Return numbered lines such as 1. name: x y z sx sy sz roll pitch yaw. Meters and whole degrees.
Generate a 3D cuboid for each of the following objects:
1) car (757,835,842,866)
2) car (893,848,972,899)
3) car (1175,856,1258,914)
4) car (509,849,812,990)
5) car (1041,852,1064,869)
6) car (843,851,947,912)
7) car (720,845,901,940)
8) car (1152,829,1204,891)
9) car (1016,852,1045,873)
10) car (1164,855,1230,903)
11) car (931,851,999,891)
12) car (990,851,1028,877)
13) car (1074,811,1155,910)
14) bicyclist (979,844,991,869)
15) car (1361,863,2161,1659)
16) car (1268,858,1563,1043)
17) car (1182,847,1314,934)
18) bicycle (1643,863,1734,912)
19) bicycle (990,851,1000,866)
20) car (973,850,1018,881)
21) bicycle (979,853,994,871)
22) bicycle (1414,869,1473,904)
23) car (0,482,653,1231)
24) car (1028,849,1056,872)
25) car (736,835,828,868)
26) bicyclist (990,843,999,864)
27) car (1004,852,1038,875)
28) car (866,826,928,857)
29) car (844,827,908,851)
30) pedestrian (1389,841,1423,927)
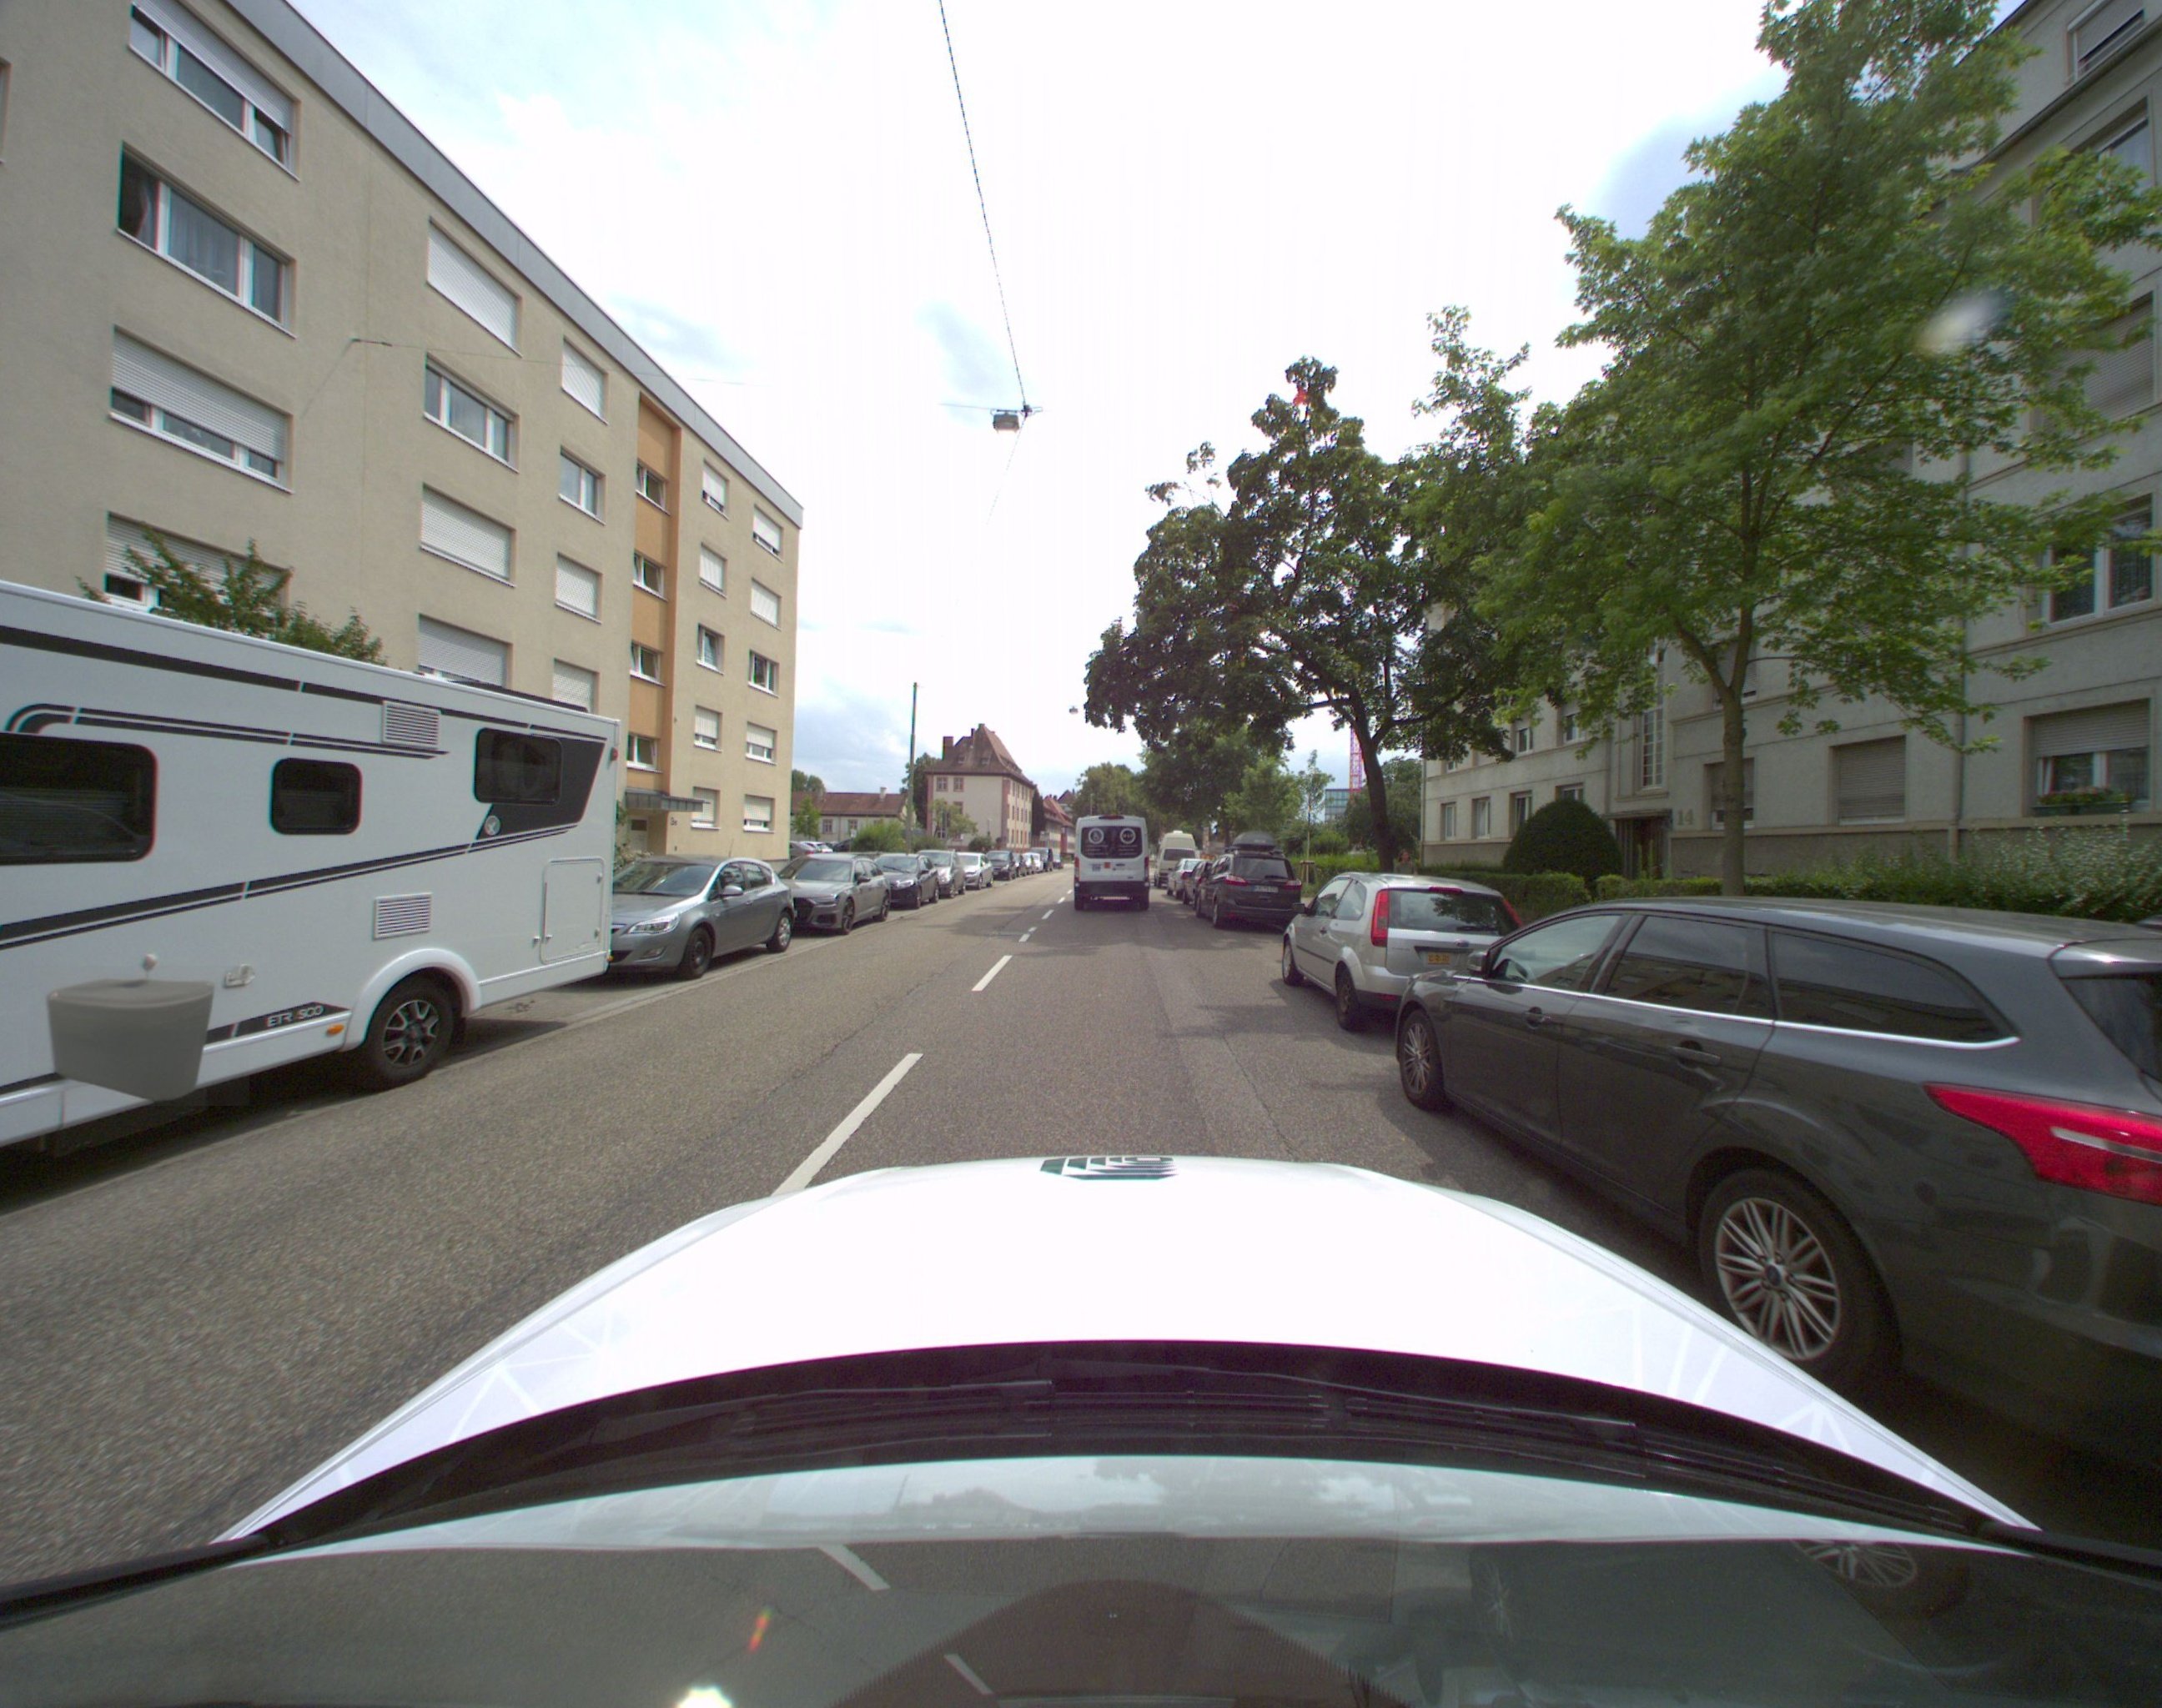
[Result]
1. car: -16.164 -0.214 46.913 4.155 1.684 2.002 1 1 3
2. car: -5.073 0.613 28.372 1.879 1.579 4.153 2 0 1
3. car: 3.920 0.862 24.154 1.707 1.464 4.000 3 0 0
4. car: -5.405 0.716 11.297 1.682 1.496 4.595 2 0 1
5. car: -2.690 0.573 77.381 1.778 1.482 3.864 2 0 3
6. car: -5.157 0.695 23.258 1.735 1.496 4.787 2 0 1
7. car: -5.300 0.668 16.812 1.879 1.579 5.219 2 0 1
8. car: 4.399 0.257 37.676 1.889 2.587 4.831 3 0 2
9. car: -3.816 0.613 62.194 1.778 1.482 3.864 2 0 3
10. car: 4.072 0.819 29.187 1.675 1.469 4.555 4 0 0
11. car: -4.777 0.659 34.215 1.877 1.488 4.638 2 0 4
12. car: -4.402 0.603 50.440 1.778 1.462 3.864 2 0 3
13. car: 0.854 0.178 23.043 2.063 2.540 4.634 0 0 0
14. bicyclist: -6.418 0.145 54.457 0.534 1.653 1.049 0 0 6
15. car: 2.896 0.840 3.775 1.612 1.469 4.390 2 0 -1
16. car: 3.264 0.818 8.852 1.653 1.456 4.038 2 0 2
17. car: 3.730 0.747 19.204 1.921 1.661 5.324 3 0 0
18. bicycle: 15.427 0.824 20.762 0.706 1.112 2.249 1 1 2
19. bicycle: -6.514 0.339 61.702 0.539 1.175 1.351 0 0 5
20. car: -4.588 0.589 44.340 1.778 1.543 3.864 2 0 3
21. bicycle: -6.361 0.510 54.972 0.538 1.175 2.095 0 0 6
22. bicycle: 9.738 0.869 21.877 1.384 0.917 0.512 1 1 -11
23. car: -5.586 -0.018 4.284 2.501 3.024 7.398 2 0 1
24. car: -3.186 0.526 67.194 1.778 1.827 3.977 2 0 3
25. car: -16.055 -0.158 43.842 4.155 1.684 2.002 1 1 3
26. bicyclist: -6.548 -0.016 61.378 0.533 1.585 0.692 0 0 5
27. car: -4.069 0.623 55.626 1.778 1.462 3.864 2 0 3
28. car: -14.550 -0.966 64.479 4.390 2.348 2.002 1 1 3
29. car: -15.156 -1.093 60.427 4.155 1.684 2.002 1 1 3
30. pedestrian: 6.990 0.637 17.545 0.521 1.828 0.523 0 0 -3
